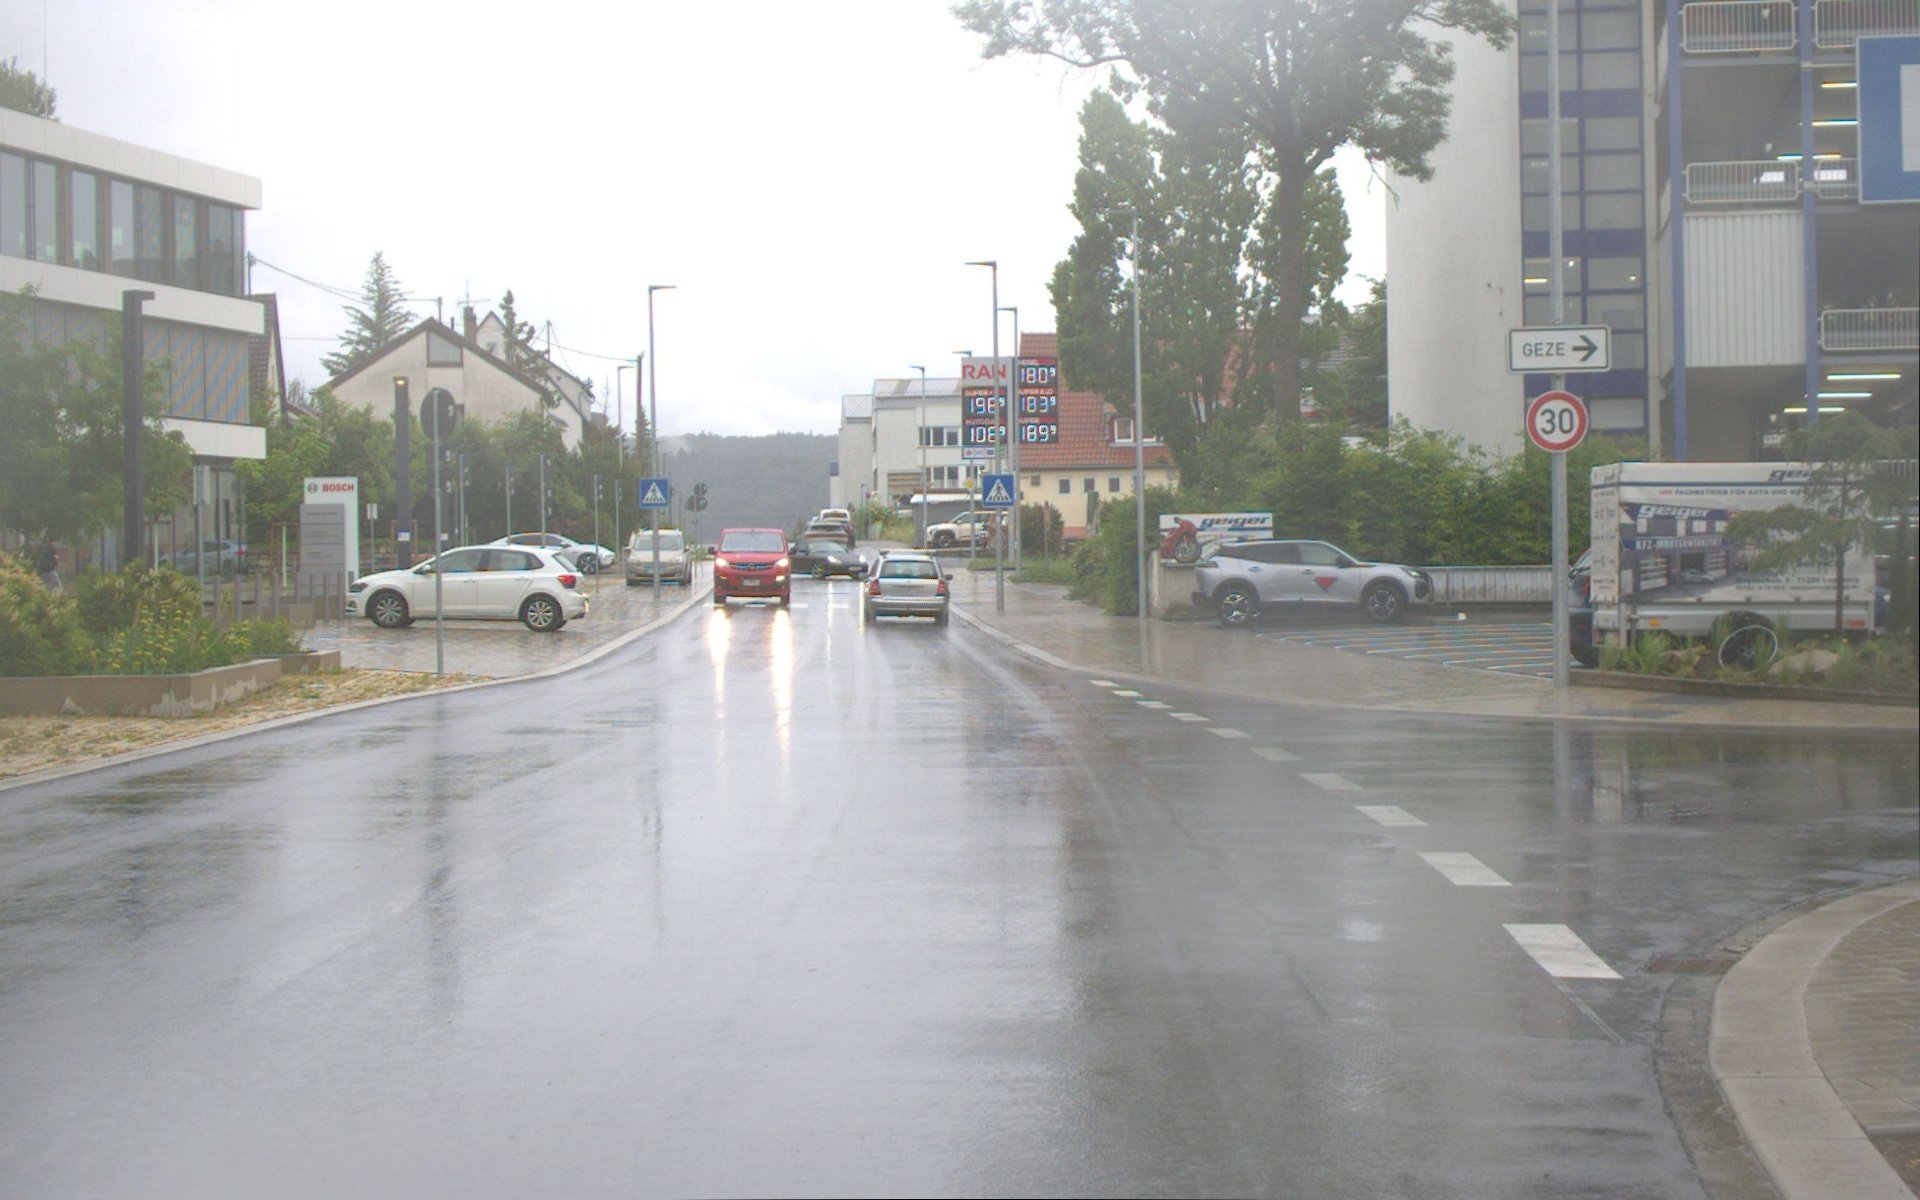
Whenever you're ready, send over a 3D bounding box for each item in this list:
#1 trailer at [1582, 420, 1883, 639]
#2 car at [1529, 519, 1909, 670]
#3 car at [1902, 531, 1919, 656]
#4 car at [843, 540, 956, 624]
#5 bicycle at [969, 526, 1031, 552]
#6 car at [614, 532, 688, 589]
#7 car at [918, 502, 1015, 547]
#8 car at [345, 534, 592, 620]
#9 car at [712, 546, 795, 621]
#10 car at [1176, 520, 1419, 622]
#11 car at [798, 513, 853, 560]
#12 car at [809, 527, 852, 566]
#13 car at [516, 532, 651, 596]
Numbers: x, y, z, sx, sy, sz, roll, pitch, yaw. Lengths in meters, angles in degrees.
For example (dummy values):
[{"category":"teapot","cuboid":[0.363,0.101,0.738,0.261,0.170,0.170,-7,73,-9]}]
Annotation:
[{"category":"trailer","cuboid":[7.826,-0.715,34.965,2.701,2.164,1.548,0,1,0]},{"category":"car","cuboid":[8.262,-0.058,37.619,3.725,1.523,1.650,-2,0,-2]},{"category":"car","cuboid":[12.974,-0.085,39.582,3.725,1.444,1.731,-1,1,-5]},{"category":"car","cuboid":[-1.275,-0.347,70.526,1.948,1.550,4.000,3,-1,-5]},{"category":"bicycle","cuboid":[1.687,-2.599,146.543,0.668,1.063,3.629,4,-1,-34]},{"category":"car","cuboid":[-9.234,-1.209,102.996,1.993,1.623,4.154,-1,2,-3]},{"category":"car","cuboid":[0.281,-3.346,153.099,4.111,1.700,1.789,3,-1,-5]},{"category":"car","cuboid":[-8.266,-0.398,58.031,3.927,1.418,1.898,0,1,-1]},{"category":"car","cuboid":[-5.149,-0.439,85.966,2.002,1.811,4.980,0,1,-3]},{"category":"car","cuboid":[6.055,-0.521,61.452,4.208,1.644,1.999,-2,1,8]},{"category":"car","cuboid":[-5.572,-2.592,141.991,2.154,1.700,4.000,3,-1,-3]},{"category":"car","cuboid":[-6.379,-2.620,168.660,1.993,1.700,4.000,3,-1,-3]},{"category":"car","cuboid":[-13.747,-1.291,125.351,4.752,2.007,2.000,3,-1,-7]}]
